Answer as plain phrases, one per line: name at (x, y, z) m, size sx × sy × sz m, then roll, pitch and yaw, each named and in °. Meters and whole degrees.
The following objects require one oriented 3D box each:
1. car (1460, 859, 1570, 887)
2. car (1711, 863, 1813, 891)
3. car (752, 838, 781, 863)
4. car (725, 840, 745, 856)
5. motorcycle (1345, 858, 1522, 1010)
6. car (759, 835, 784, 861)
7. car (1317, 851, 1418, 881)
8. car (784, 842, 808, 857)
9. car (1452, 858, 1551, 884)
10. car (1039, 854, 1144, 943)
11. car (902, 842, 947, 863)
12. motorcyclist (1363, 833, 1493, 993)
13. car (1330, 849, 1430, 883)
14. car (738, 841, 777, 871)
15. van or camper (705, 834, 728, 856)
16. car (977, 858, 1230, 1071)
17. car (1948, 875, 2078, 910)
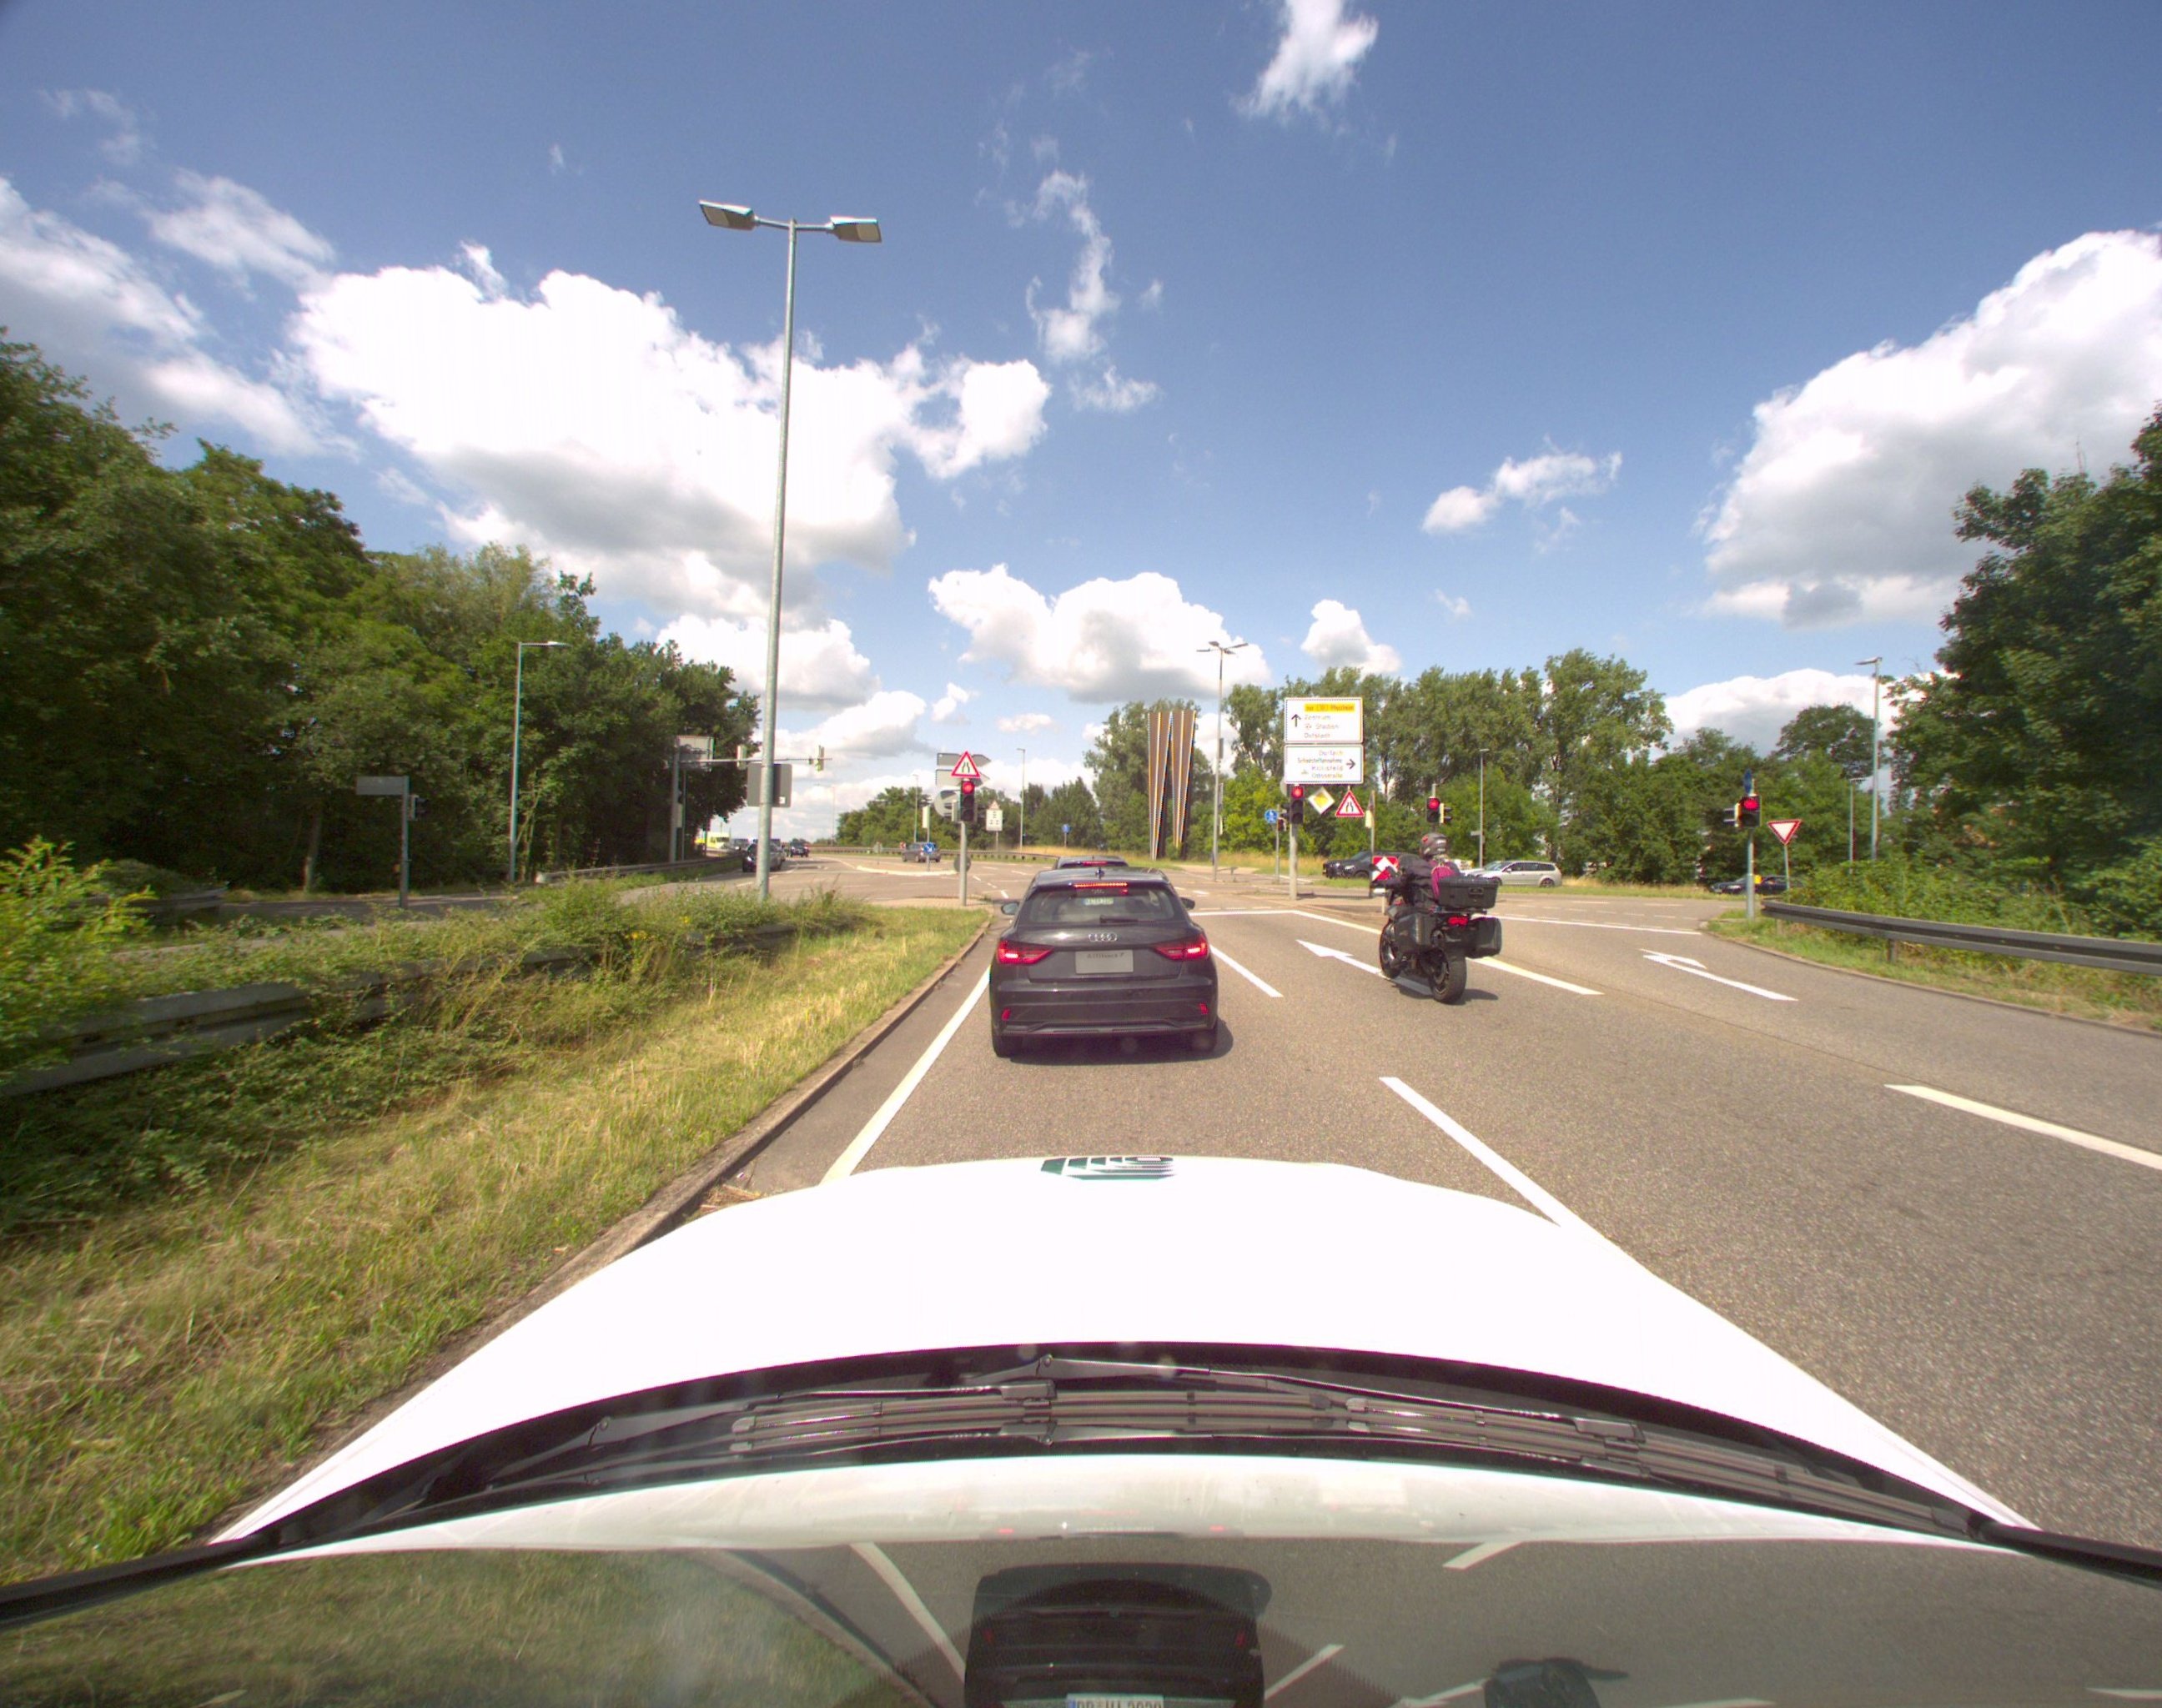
car at (21.112, 0.911, 39.694) m, size 4.460 × 1.320 × 1.736 m, roll 1°, pitch 0°, yaw -2°
car at (36.906, 1.234, 44.194) m, size 4.212 × 1.476 × 1.736 m, roll 1°, pitch 0°, yaw -2°
car at (-23.195, -0.249, 60.211) m, size 1.849 × 1.802 × 4.299 m, roll 1°, pitch 0°, yaw -19°
car at (-38.807, -0.649, 91.265) m, size 1.853 × 1.705 × 4.289 m, roll 1°, pitch 0°, yaw -26°
motorcycle at (3.641, 0.748, 8.716) m, size 0.933 × 1.383 × 2.371 m, roll 0°, pitch 0°, yaw 2°
car at (-25.748, -0.494, 67.623) m, size 1.850 × 2.100 × 4.295 m, roll 1°, pitch 0°, yaw -22°
car at (15.246, 0.629, 43.512) m, size 4.831 × 1.545 × 1.737 m, roll 1°, pitch 0°, yaw 0°
car at (-28.767, -0.461, 82.231) m, size 1.741 × 1.496 × 4.011 m, roll 1°, pitch 0°, yaw -27°
car at (22.514, 0.895, 43.705) m, size 4.481 × 1.281 × 1.736 m, roll 1°, pitch 0°, yaw -2°
car at (0.104, 0.734, 15.461) m, size 1.722 × 1.423 × 3.841 m, roll -1°, pitch 0°, yaw -2°
car at (-11.969, -0.131, 62.168) m, size 2.008 × 1.496 × 4.076 m, roll 1°, pitch 0°, yaw -34°
motorcyclist at (3.640, 0.584, 8.643) m, size 0.933 × 1.590 × 1.084 m, roll 0°, pitch 0°, yaw 1°
car at (14.524, 0.572, 39.675) m, size 4.253 × 1.545 × 1.737 m, roll 1°, pitch 0°, yaw 0°
car at (-18.262, 0.129, 46.154) m, size 1.844 × 1.618 × 3.974 m, roll 0°, pitch -1°, yaw -19°
van or camper at (-46.549, -1.088, 103.837) m, size 2.006 × 2.683 × 6.798 m, roll 0°, pitch 0°, yaw -30°
car at (0.217, 0.777, 7.652) m, size 1.720 × 1.404 × 4.002 m, roll -1°, pitch 0°, yaw 2°
car at (41.424, 1.692, 36.251) m, size 3.952 × 1.418 × 1.949 m, roll 1°, pitch 0°, yaw -7°
